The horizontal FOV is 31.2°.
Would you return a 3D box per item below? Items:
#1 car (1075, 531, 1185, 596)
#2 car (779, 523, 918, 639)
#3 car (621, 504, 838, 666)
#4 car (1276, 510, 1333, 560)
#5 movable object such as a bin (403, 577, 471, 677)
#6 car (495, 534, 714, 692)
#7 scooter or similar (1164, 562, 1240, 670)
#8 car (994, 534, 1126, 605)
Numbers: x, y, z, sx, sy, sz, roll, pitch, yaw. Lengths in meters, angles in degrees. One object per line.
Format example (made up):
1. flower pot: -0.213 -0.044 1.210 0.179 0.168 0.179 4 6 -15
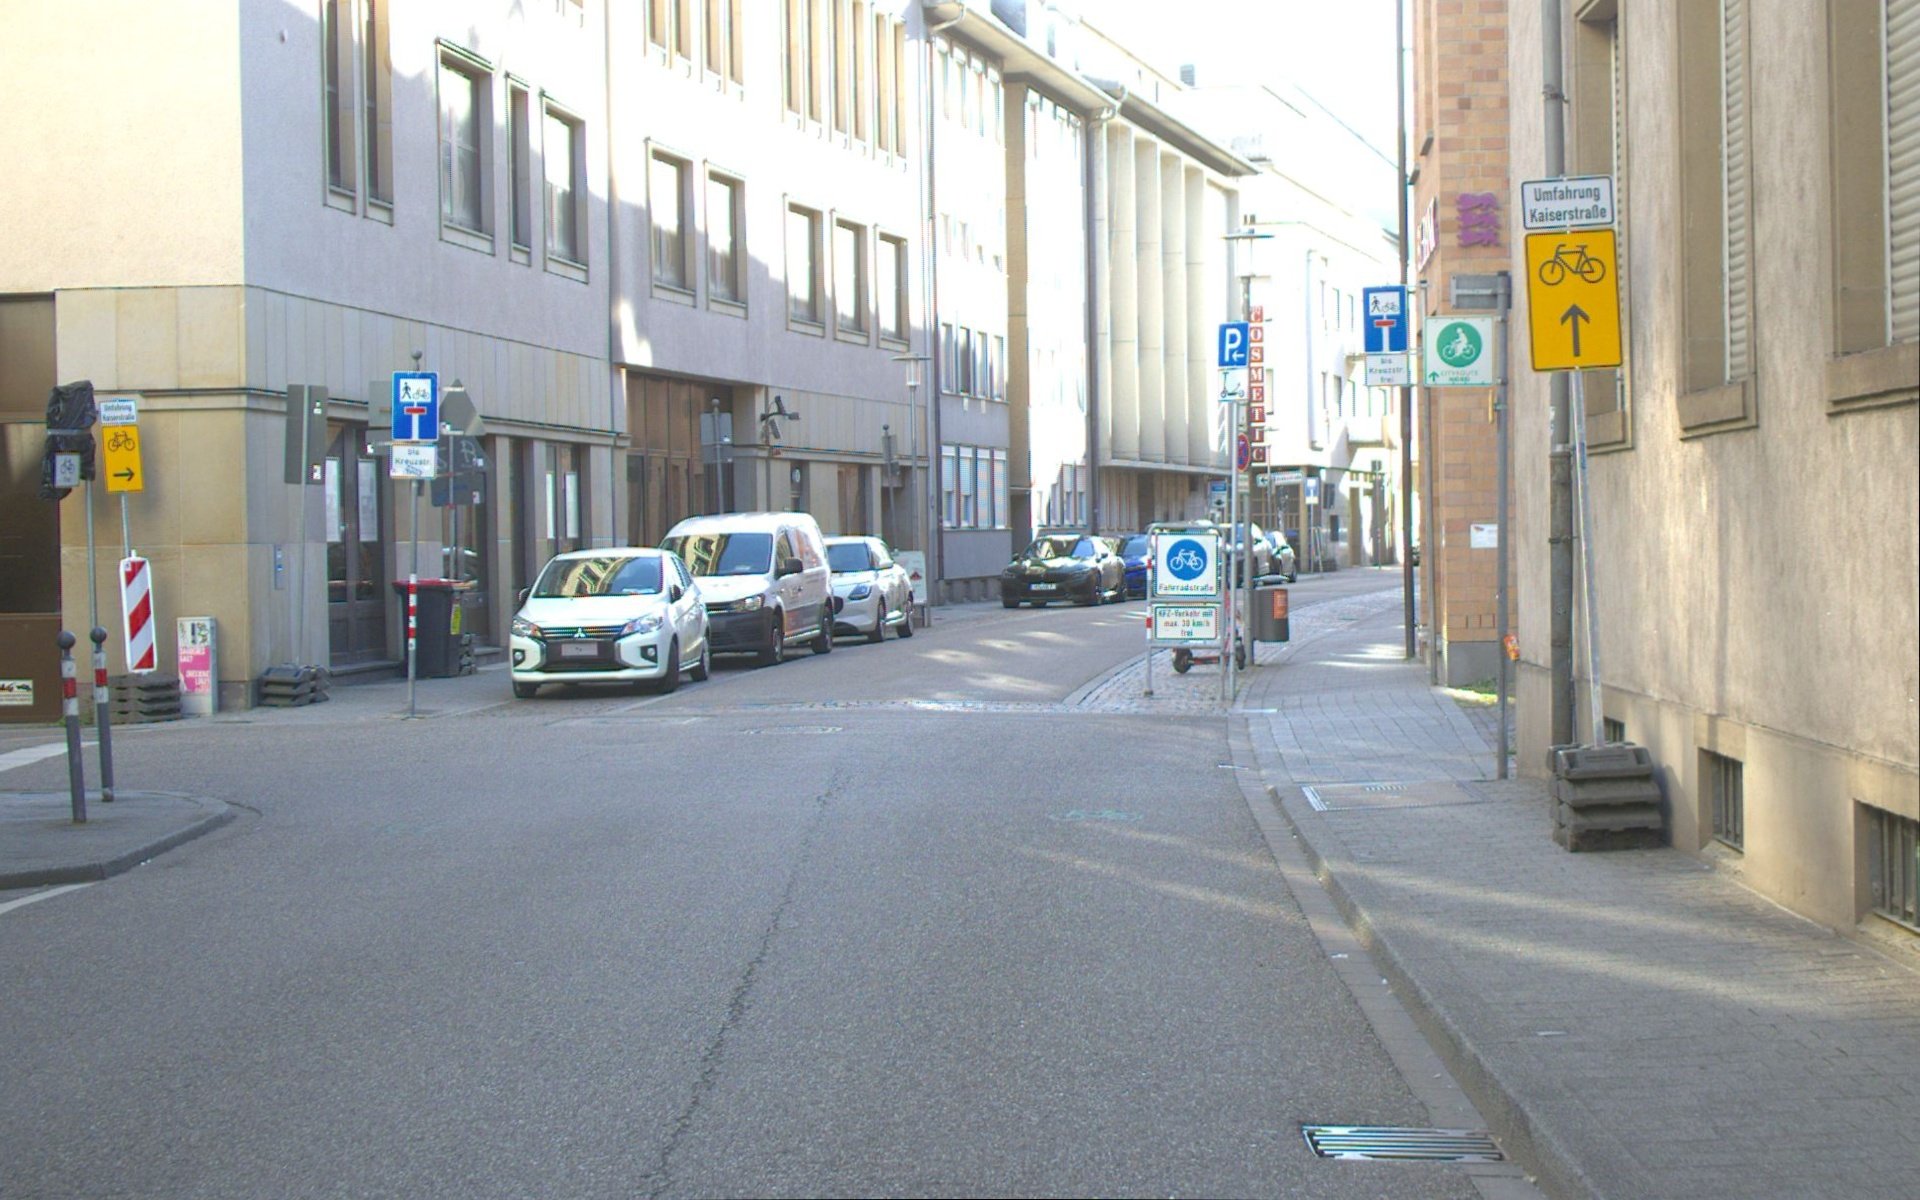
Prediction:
1. car: 3.728 -0.810 74.699 1.725 1.336 3.998 -1 1 12
2. car: -1.518 -0.294 47.963 1.271 1.501 3.400 -2 1 9
3. car: -2.737 -0.231 41.831 1.671 1.812 4.551 -2 1 8
4. car: 10.534 -1.996 104.904 1.339 1.489 3.345 -1 1 12
5. movable object such as a bin: -5.668 0.289 37.266 0.608 1.057 0.713 2 1 0
6. car: -3.664 0.094 36.010 1.670 1.501 3.793 -2 1 3
7. scooter or similar: 2.610 0.168 37.085 0.771 1.132 0.269 2 1 5
8. car: 2.018 -0.630 68.427 1.882 1.327 4.098 -1 1 12
